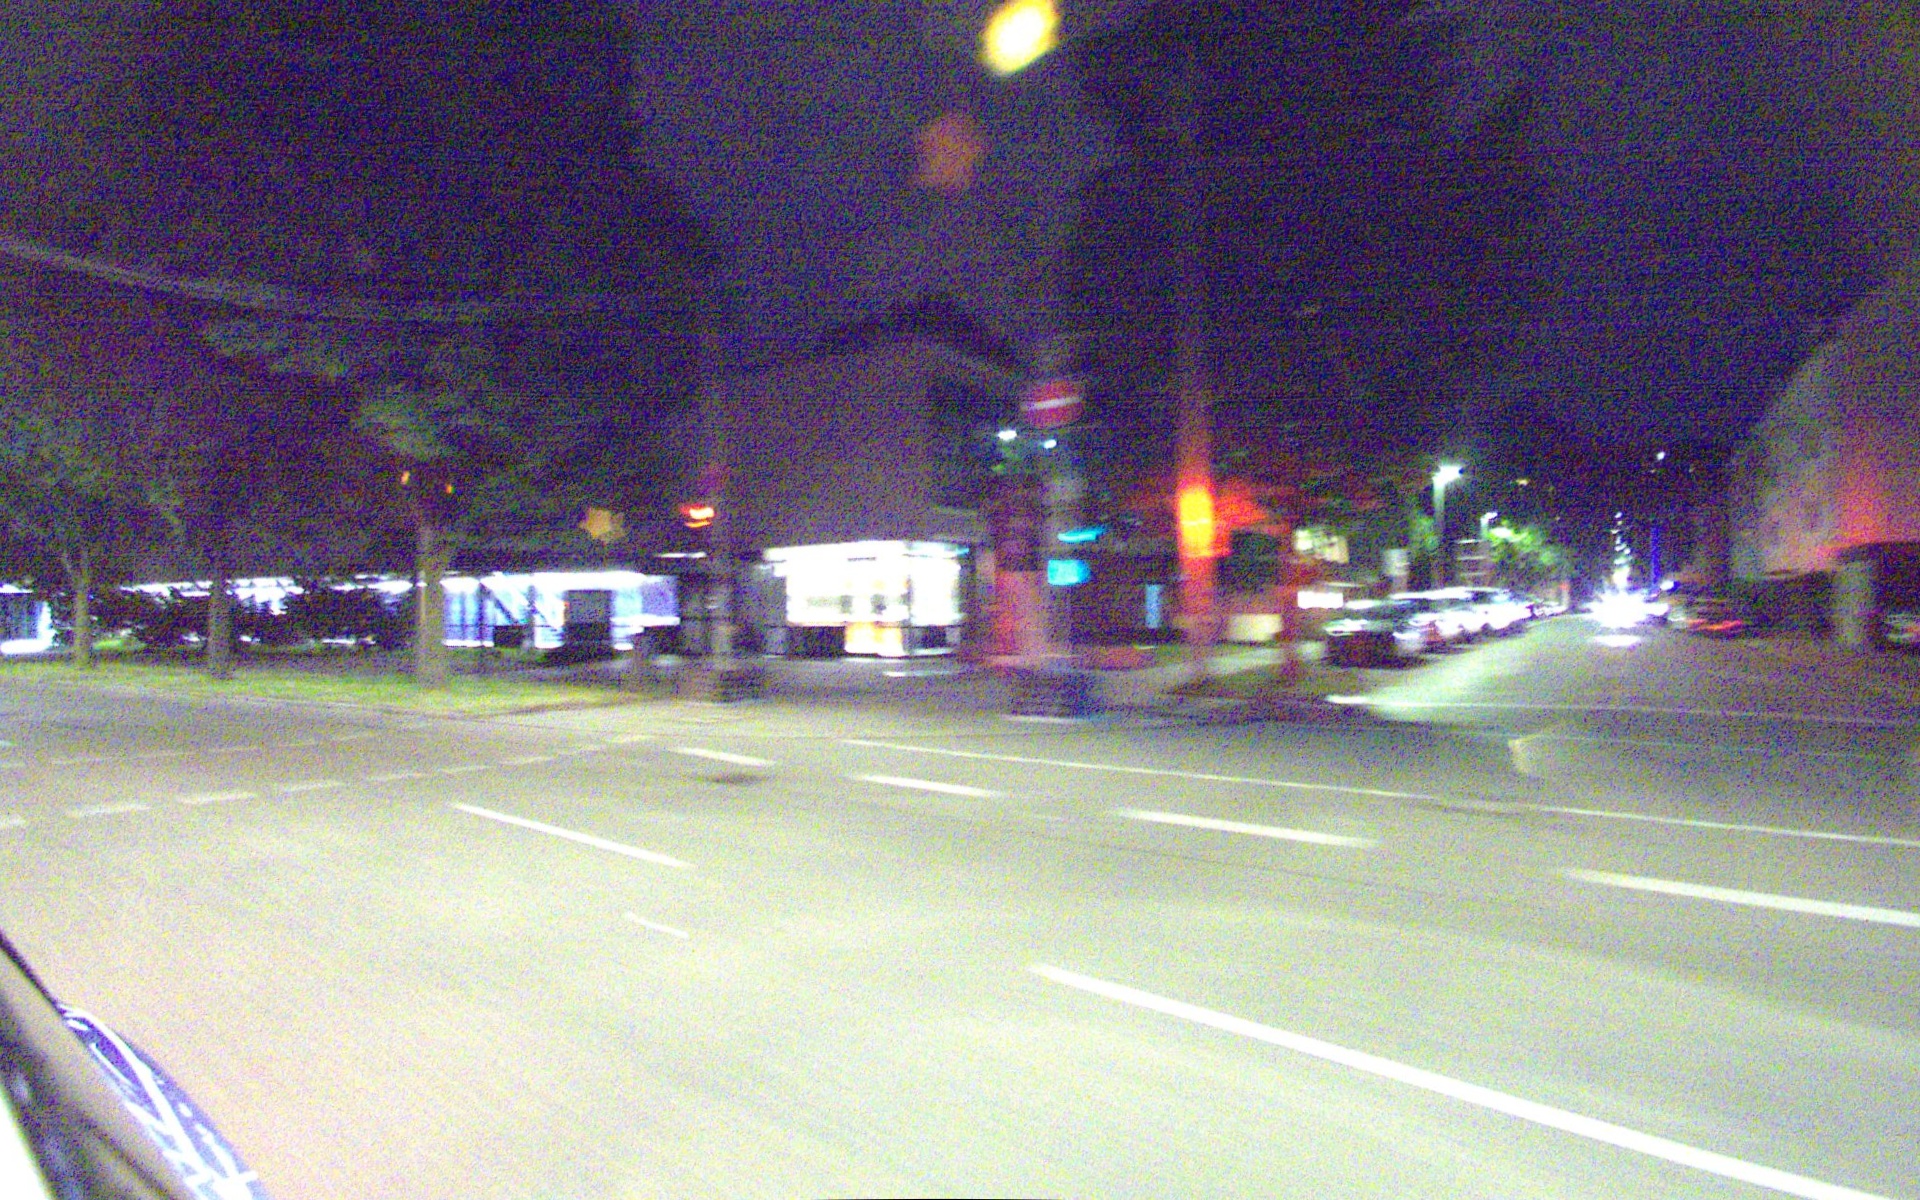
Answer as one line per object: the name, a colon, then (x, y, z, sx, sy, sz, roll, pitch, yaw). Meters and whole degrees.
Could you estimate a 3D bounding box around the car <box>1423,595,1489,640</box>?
car: (20.680, 0.697, 42.094, 1.889, 1.689, 4.340, 4, 2, 33)

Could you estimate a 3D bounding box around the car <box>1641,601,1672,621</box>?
car: (55.455, 0.935, 80.660, 1.918, 1.526, 5.045, -1, -2, 34)

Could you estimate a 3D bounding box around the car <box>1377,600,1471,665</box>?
car: (13.969, 0.901, 30.336, 1.829, 1.689, 4.338, 4, 2, 34)

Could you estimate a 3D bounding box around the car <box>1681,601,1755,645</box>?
car: (28.248, 0.866, 37.844, 1.918, 1.526, 5.045, -1, -2, 34)

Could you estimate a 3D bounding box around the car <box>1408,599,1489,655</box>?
car: (17.347, 0.913, 35.827, 1.889, 1.721, 4.338, 4, 2, 34)

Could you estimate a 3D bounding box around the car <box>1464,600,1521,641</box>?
car: (24.727, 0.923, 46.904, 1.889, 1.689, 4.340, 4, 2, 33)

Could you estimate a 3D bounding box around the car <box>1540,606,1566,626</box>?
car: (52.139, 1.364, 88.901, 1.887, 1.690, 4.342, 1, 0, 32)

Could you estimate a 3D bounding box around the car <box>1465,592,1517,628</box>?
car: (27.468, 0.508, 52.311, 1.889, 1.689, 4.340, 4, 2, 33)

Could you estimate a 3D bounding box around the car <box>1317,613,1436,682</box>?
car: (10.322, 1.098, 24.893, 1.829, 1.403, 4.338, 4, 2, 34)

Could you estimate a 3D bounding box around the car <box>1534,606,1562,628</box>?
car: (48.043, 1.400, 82.688, 1.887, 1.690, 4.342, 1, 0, 32)

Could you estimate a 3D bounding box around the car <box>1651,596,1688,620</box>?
car: (47.580, 0.595, 67.943, 1.918, 1.526, 5.045, -1, -2, 34)

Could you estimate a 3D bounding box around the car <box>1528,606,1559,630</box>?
car: (43.116, 1.310, 74.771, 1.887, 1.690, 4.342, 0, 0, 32)

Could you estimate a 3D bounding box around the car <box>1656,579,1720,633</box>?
car: (33.662, 0.322, 46.935, 2.164, 2.351, 5.659, -1, -2, 34)
